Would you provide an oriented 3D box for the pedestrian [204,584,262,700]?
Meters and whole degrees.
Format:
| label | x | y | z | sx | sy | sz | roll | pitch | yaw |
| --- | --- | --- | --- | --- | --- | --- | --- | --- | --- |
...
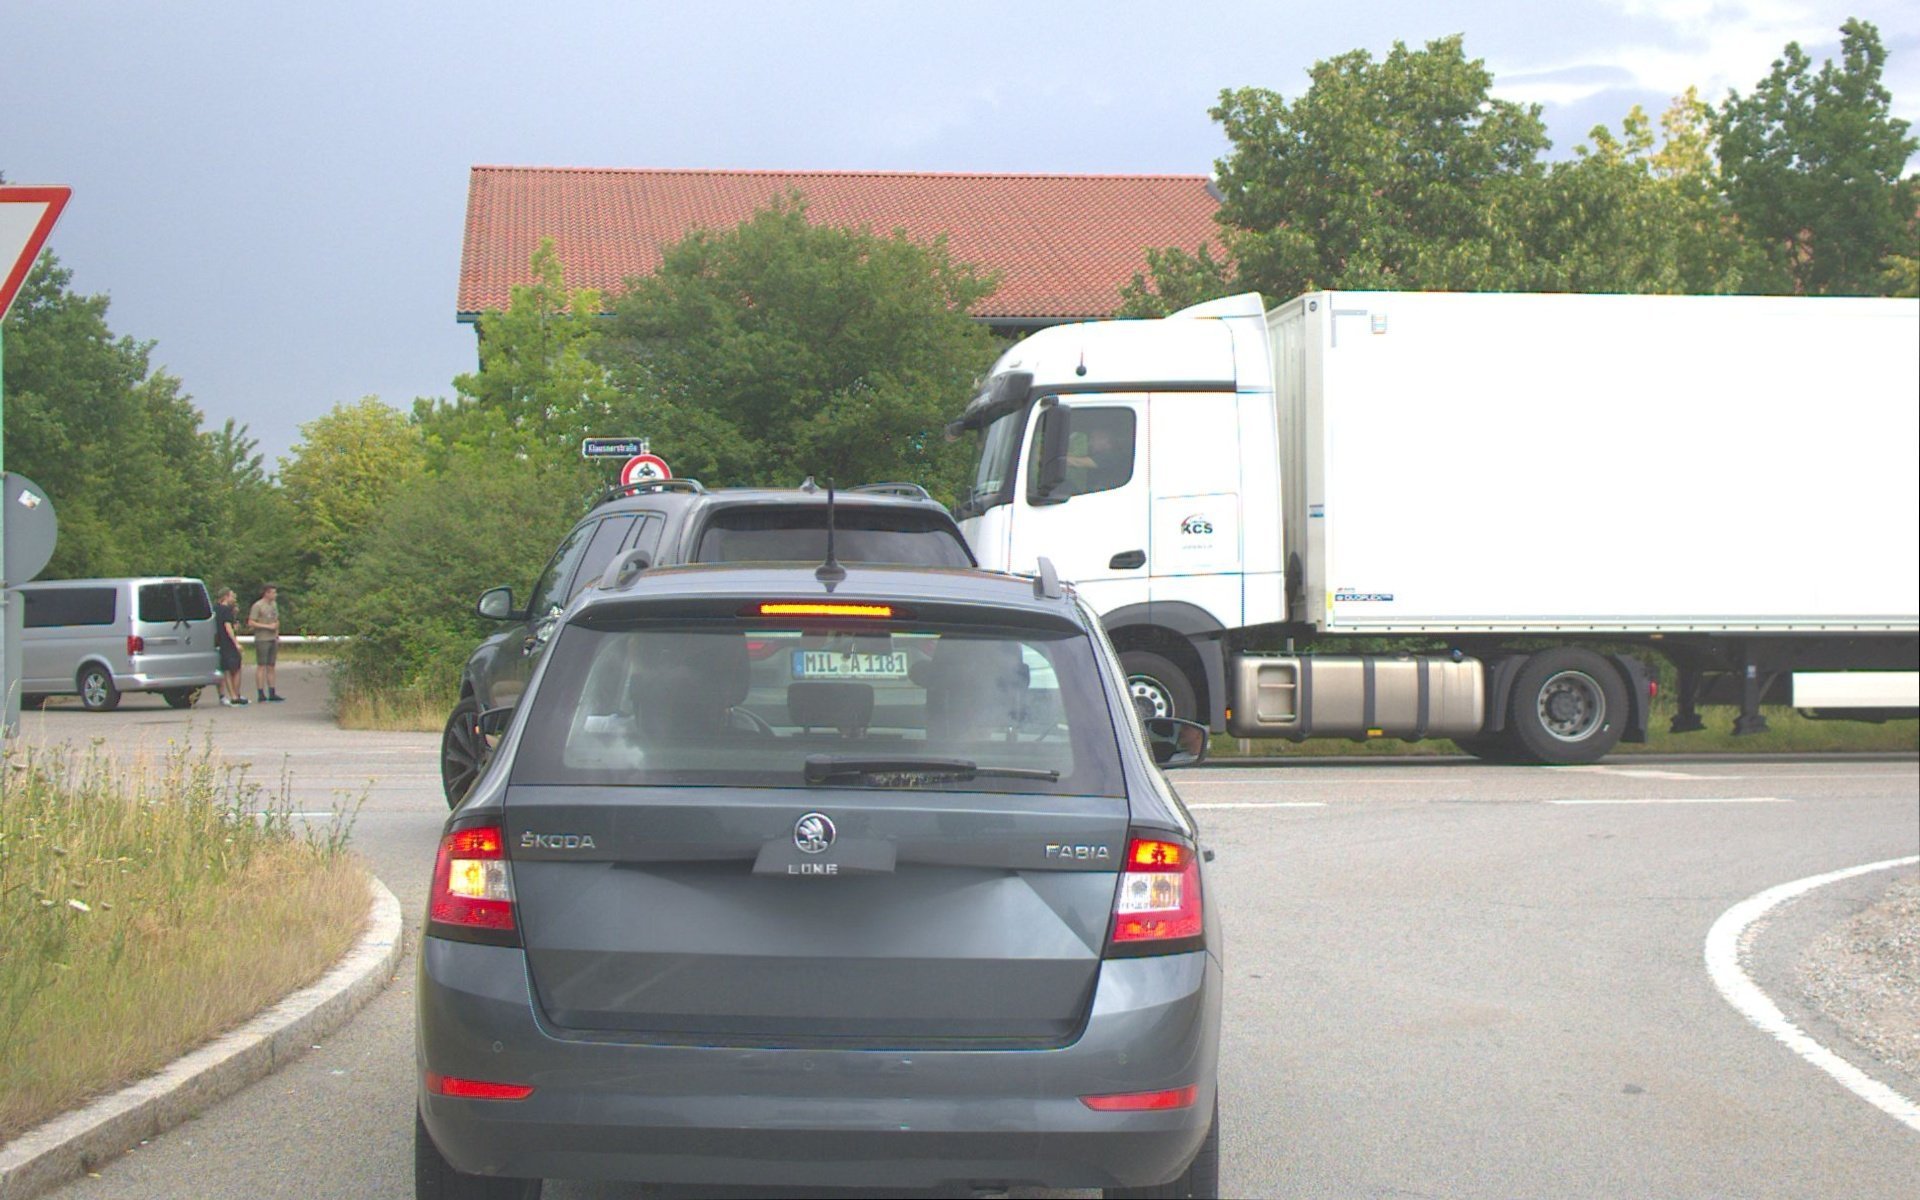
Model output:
| label | x | y | z | sx | sy | sz | roll | pitch | yaw |
| --- | --- | --- | --- | --- | --- | --- | --- | --- | --- |
| pedestrian | -10.962 | 0.621 | 51.870 | 0.529 | 1.720 | 0.640 | 0 | 2 | 31 |

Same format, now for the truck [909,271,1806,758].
| label | x | y | z | sx | sy | sz | roll | pitch | yaw |
| --- | --- | --- | --- | --- | --- | --- | --- | --- | --- |
| truck | 3.352 | -0.689 | 30.265 | 7.282 | 4.001 | 3.129 | 0 | -1 | -7 |

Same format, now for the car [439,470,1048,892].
| label | x | y | z | sx | sy | sz | roll | pitch | yaw |
| --- | --- | --- | --- | --- | --- | --- | --- | --- | --- |
| car | -1.236 | 0.344 | 16.925 | 1.993 | 1.768 | 4.645 | 0 | 0 | -17 |

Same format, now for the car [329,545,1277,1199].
| label | x | y | z | sx | sy | sz | roll | pitch | yaw |
| --- | --- | --- | --- | --- | --- | --- | --- | --- | --- |
| car | -0.375 | 0.624 | 8.004 | 1.676 | 1.457 | 3.708 | 1 | 1 | -3 |

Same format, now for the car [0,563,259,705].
| label | x | y | z | sx | sy | sz | roll | pitch | yaw |
| --- | --- | --- | --- | --- | --- | --- | --- | --- | --- |
| car | -13.288 | 0.477 | 52.197 | 4.907 | 2.007 | 2.338 | 0 | 2 | 33 |

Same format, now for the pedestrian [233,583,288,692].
| label | x | y | z | sx | sy | sz | roll | pitch | yaw |
| --- | --- | --- | --- | --- | --- | --- | --- | --- | --- |
| pedestrian | -10.852 | 0.578 | 53.349 | 0.565 | 1.677 | 0.584 | 0 | 1 | 26 |

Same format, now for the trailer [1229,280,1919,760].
| label | x | y | z | sx | sy | sz | roll | pitch | yaw |
| --- | --- | --- | --- | --- | --- | --- | --- | --- | --- |
| trailer | 9.557 | -0.662 | 31.039 | 13.838 | 4.001 | 3.129 | 0 | -1 | -7 |
